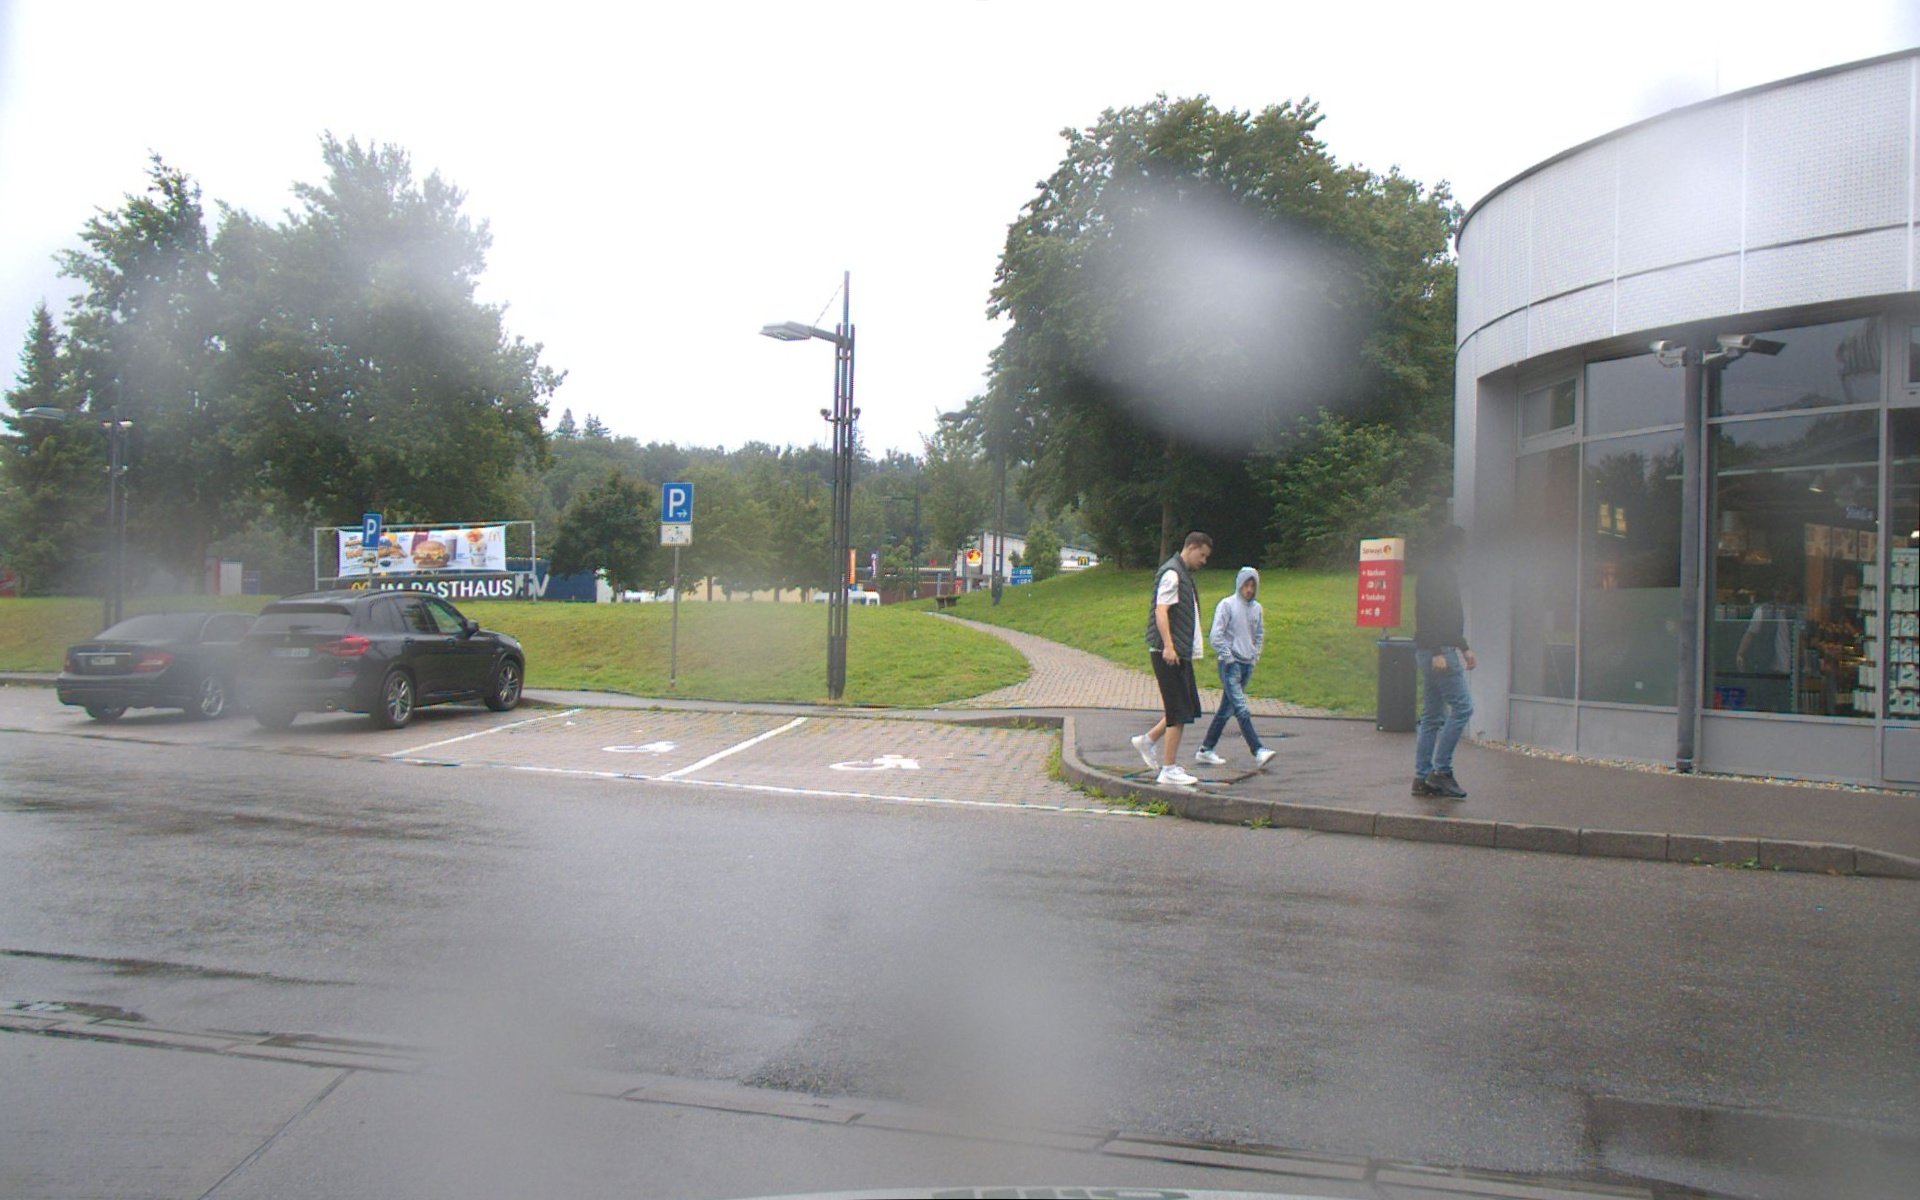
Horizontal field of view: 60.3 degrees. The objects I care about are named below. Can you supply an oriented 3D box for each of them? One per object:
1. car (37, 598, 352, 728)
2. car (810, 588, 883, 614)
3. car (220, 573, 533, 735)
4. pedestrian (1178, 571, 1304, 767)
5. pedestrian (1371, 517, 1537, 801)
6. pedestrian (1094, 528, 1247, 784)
[{"bbox_3d":[-10.359,0.782,22.765,1.844,1.592,4.189,0,0,11],"label":"car"},{"bbox_3d":[-9.163,0.061,133.635,5.310,2.049,2.456,1,0,19],"label":"car"},{"bbox_3d":[-7.334,0.609,21.326,1.844,1.860,4.417,0,0,11],"label":"car"},{"bbox_3d":[2.349,0.553,13.828,0.872,1.577,0.659,0,0,29],"label":"pedestrian"},{"bbox_3d":[3.490,0.393,11.662,0.979,1.897,0.798,0,0,28],"label":"pedestrian"},{"bbox_3d":[1.620,0.408,12.694,0.954,1.880,0.772,0,0,28],"label":"pedestrian"}]
